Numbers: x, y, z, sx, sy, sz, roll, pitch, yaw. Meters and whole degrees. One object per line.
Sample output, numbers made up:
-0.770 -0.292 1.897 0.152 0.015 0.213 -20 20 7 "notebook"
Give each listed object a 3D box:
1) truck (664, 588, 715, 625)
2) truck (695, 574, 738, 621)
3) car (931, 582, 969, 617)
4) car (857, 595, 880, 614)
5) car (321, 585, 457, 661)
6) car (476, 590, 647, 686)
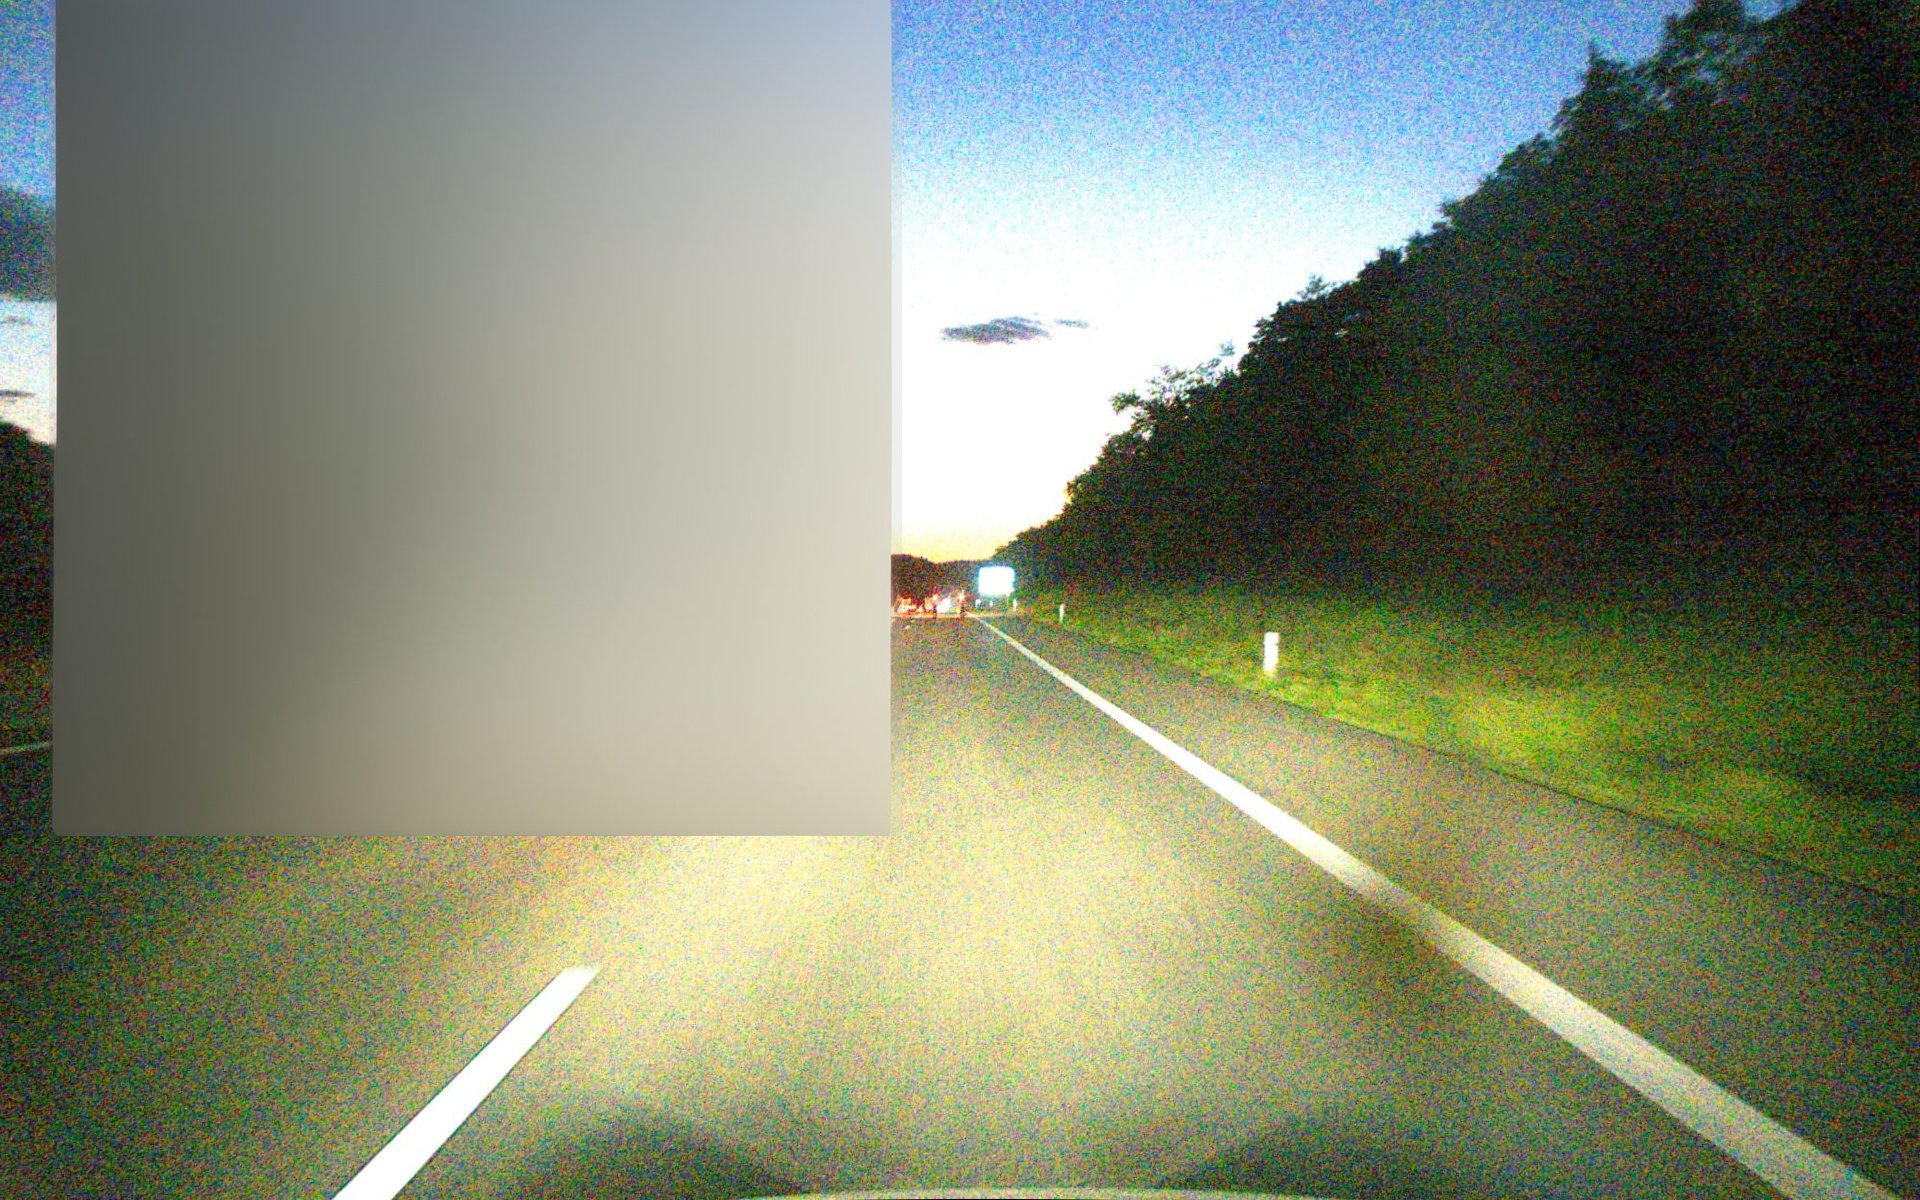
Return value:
-20.928 0.472 128.381 2.814 2.688 7.884 -1 0 -1 "truck"
-24.242 -0.276 164.807 3.258 4.511 6.706 -1 0 -1 "truck"
-0.620 -0.034 101.591 2.152 1.989 4.763 -3 0 0 "car"
-9.410 0.451 170.646 2.152 1.989 4.633 1 0 -1 "car"
-15.844 0.602 46.202 2.152 1.989 4.762 1 0 -1 "car"
-6.797 0.587 28.800 1.743 1.513 5.253 1 0 -1 "car"
